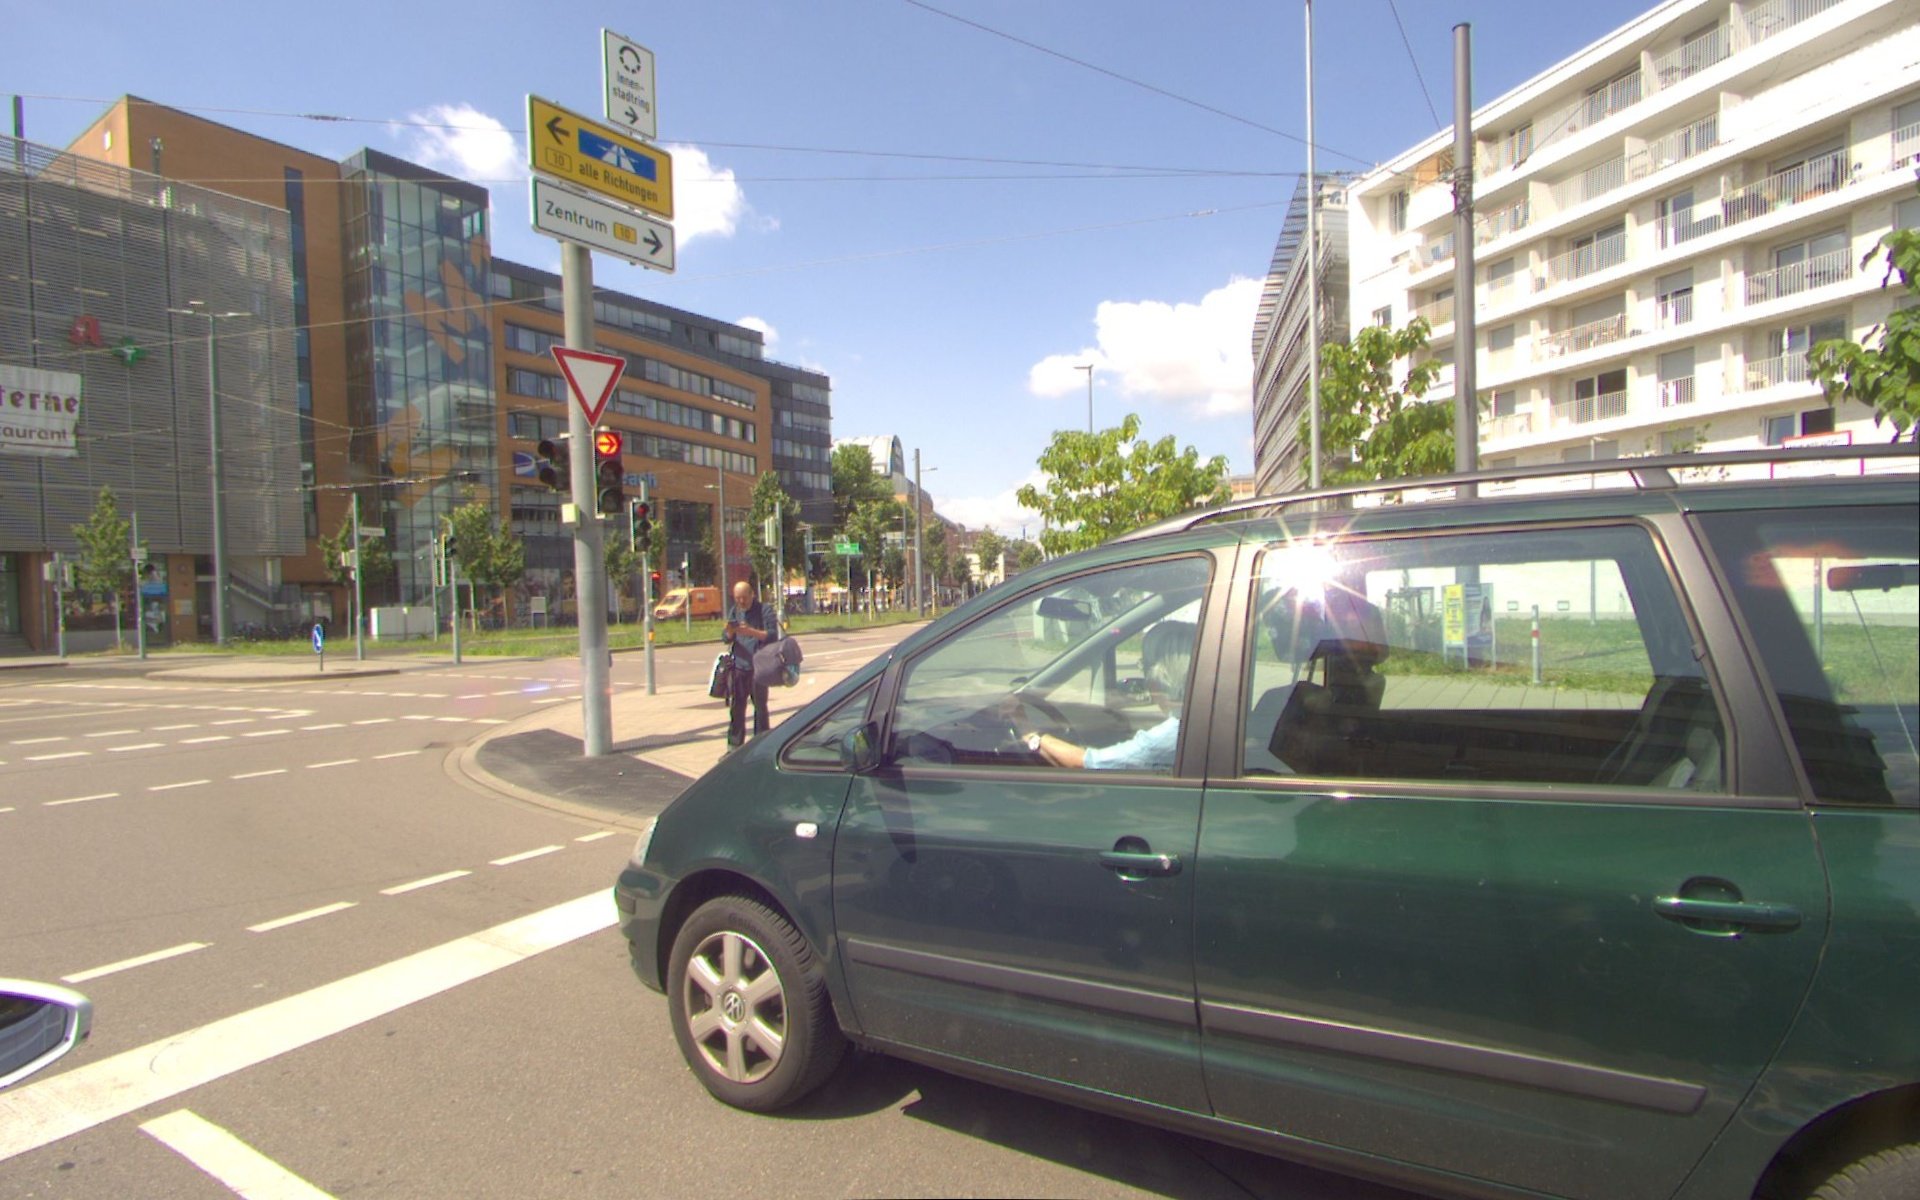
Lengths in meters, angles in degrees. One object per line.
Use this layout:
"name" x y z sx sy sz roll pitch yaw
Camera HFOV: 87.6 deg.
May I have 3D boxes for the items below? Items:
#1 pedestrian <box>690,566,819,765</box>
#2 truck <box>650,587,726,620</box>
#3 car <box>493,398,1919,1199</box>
"pedestrian" -1.856 0.573 9.166 0.901 1.725 0.808 -2 1 5
"truck" -18.449 0.273 68.243 1.967 2.113 5.508 0 -1 23
"car" 0.949 0.607 2.954 4.959 1.779 1.815 -1 -1 32
